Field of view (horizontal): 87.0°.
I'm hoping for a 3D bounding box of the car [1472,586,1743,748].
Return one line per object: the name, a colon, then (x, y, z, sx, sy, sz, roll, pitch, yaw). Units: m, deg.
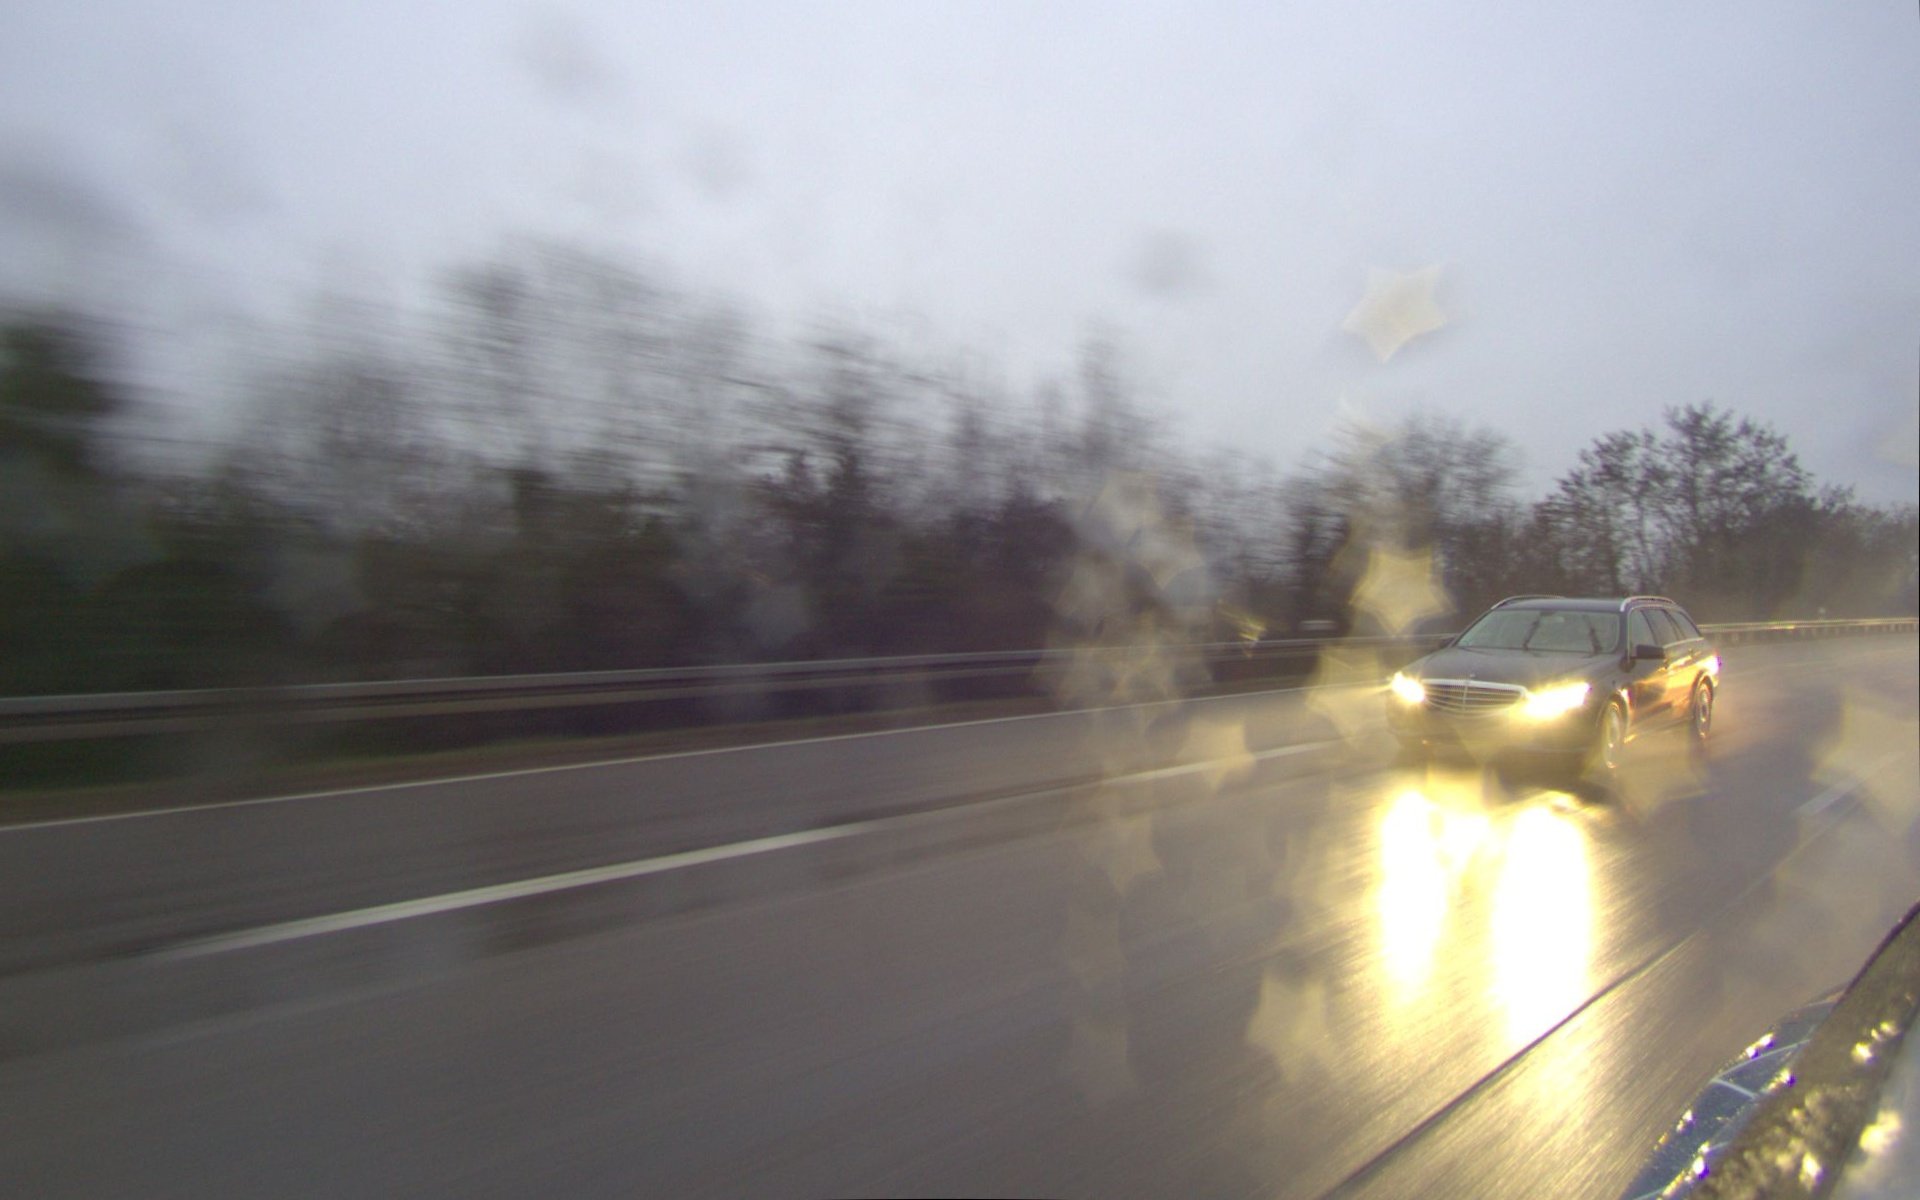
car: (7.266, 0.612, 11.190, 4.106, 1.472, 1.592, 0, 0, -43)
